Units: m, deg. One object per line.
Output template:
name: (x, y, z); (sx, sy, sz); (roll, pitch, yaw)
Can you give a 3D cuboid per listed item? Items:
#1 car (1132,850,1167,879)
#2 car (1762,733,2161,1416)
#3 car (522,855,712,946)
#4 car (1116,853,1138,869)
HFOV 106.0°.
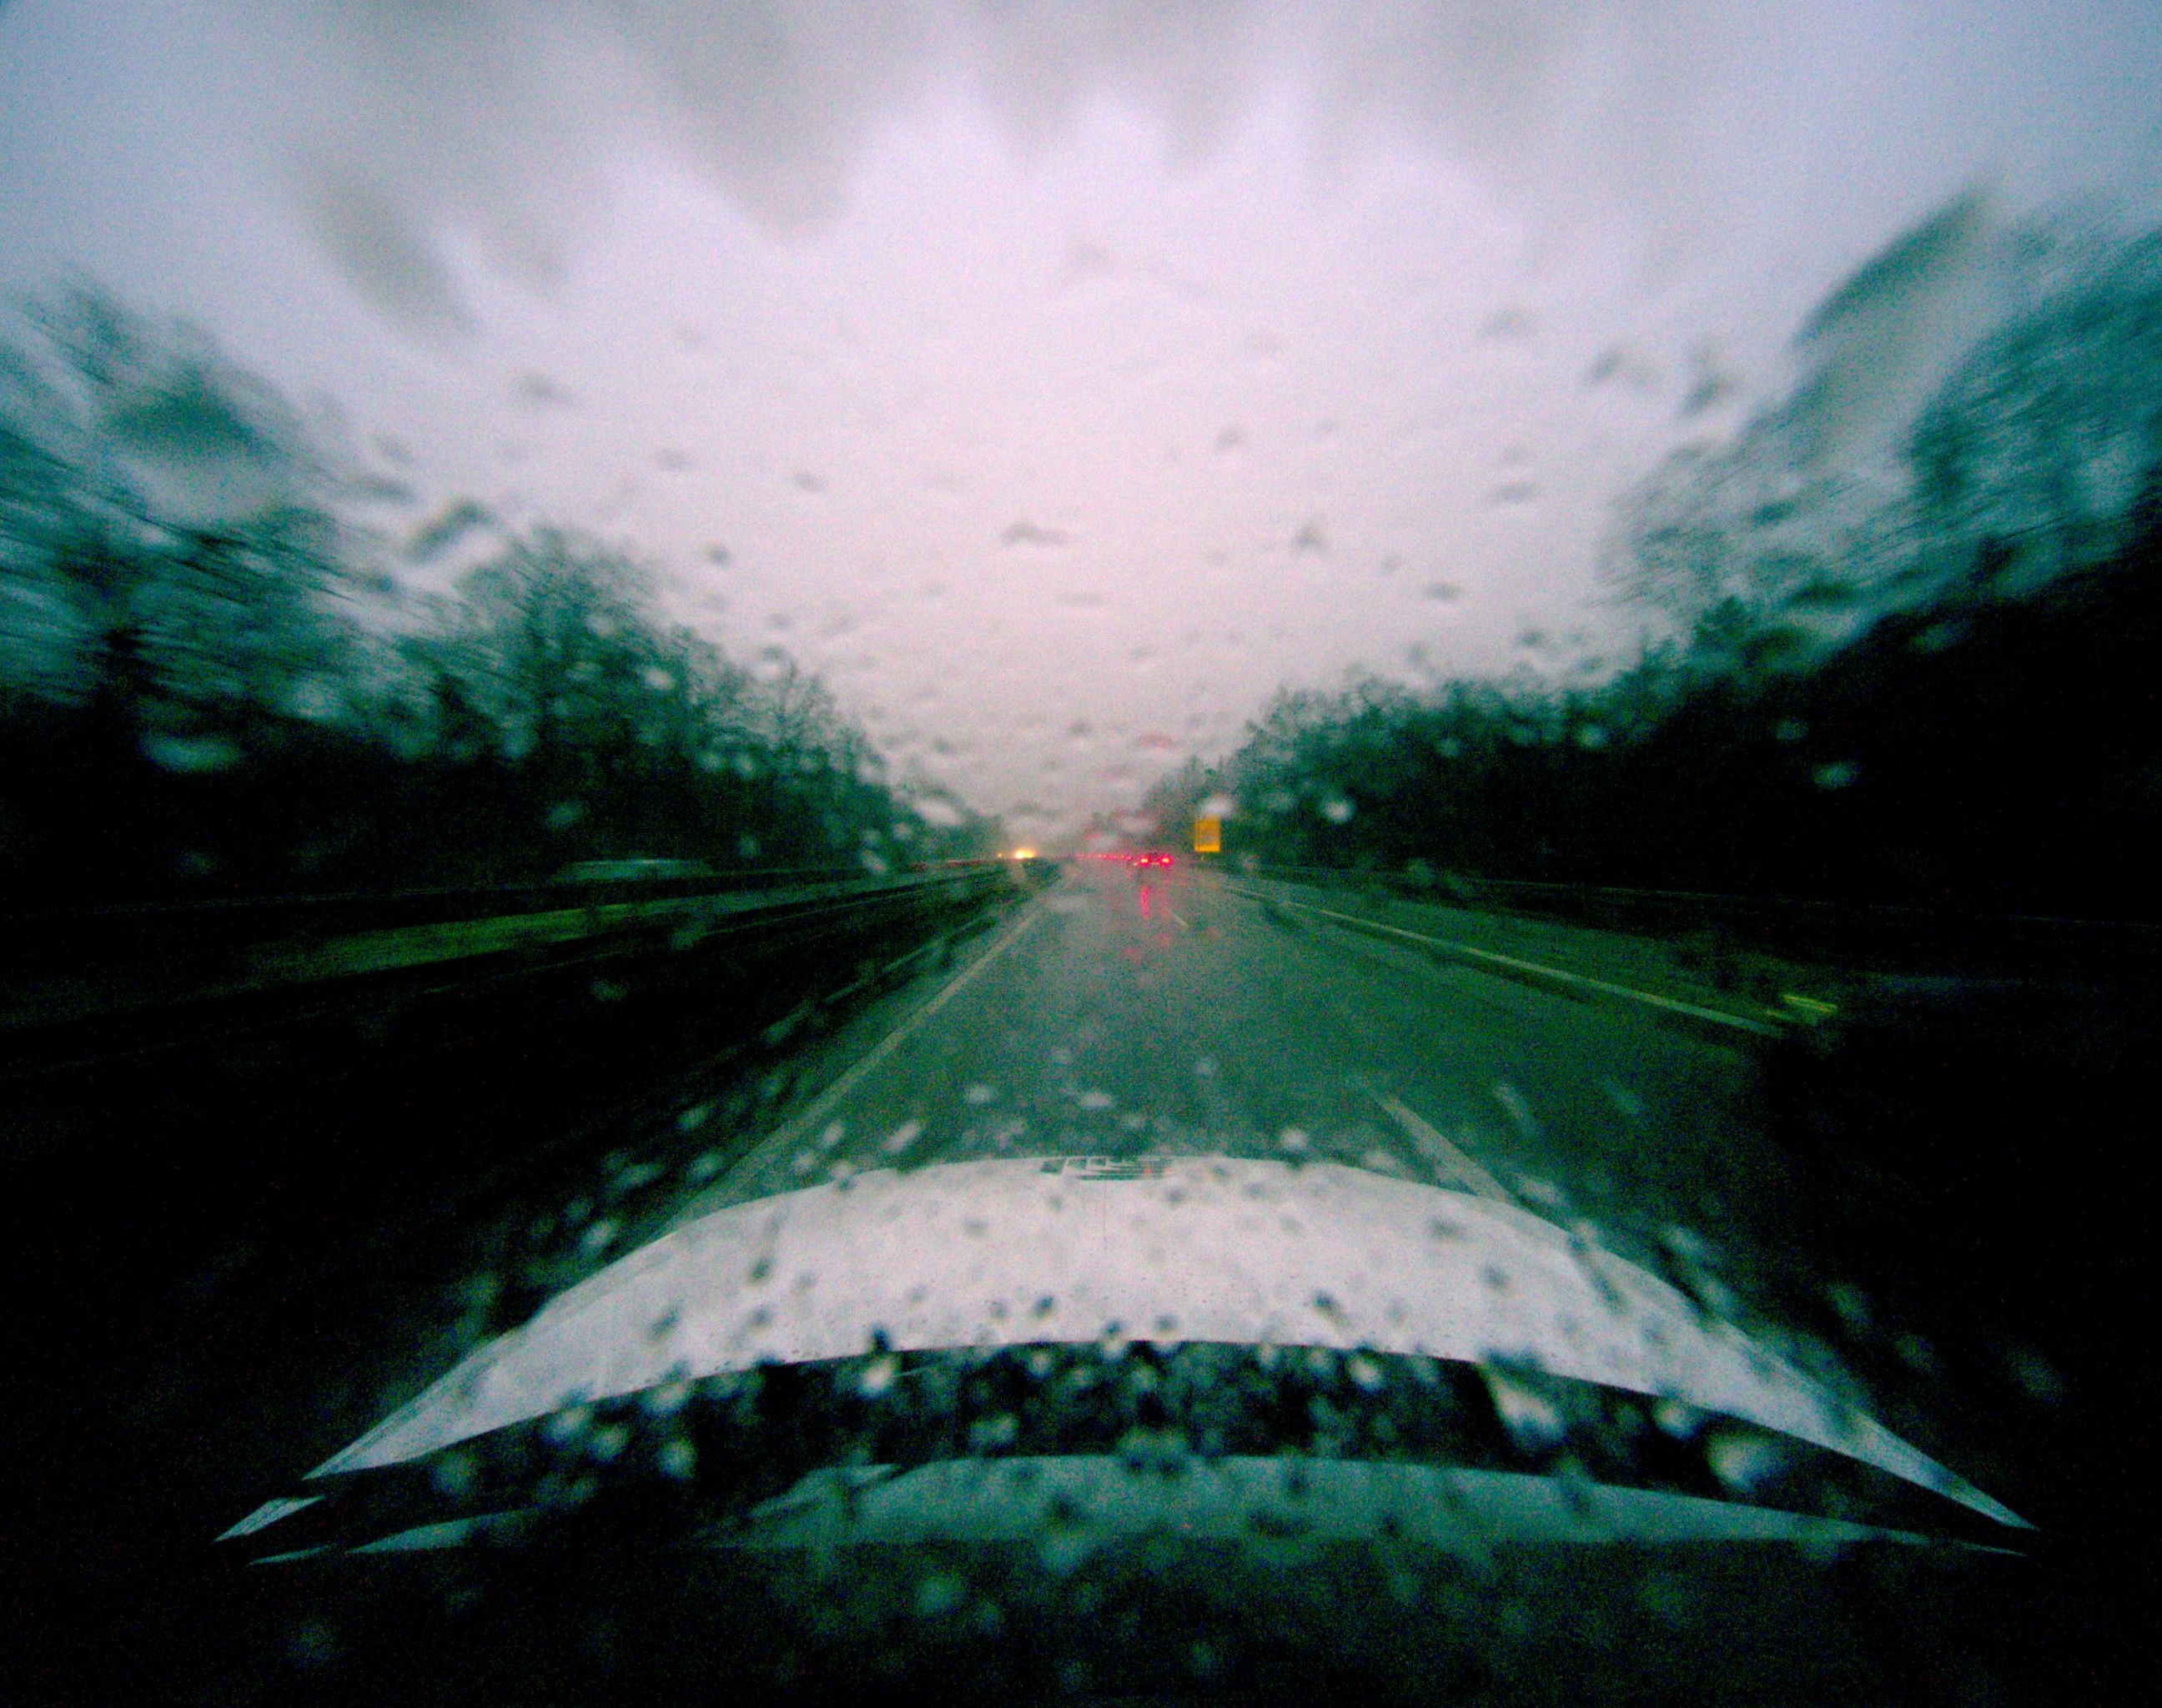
car: (4.262, 0.632, 51.025); (1.984, 1.715, 3.832); (-1, 0, 2)
car: (3.768, 0.567, 1.425); (1.917, 1.791, 3.942); (-1, 0, 1)
car: (-10.315, 0.955, 18.482); (1.748, 1.835, 3.919); (-1, 0, 6)
car: (4.357, 0.638, 77.629); (1.987, 1.420, 4.000); (1, -1, 1)
